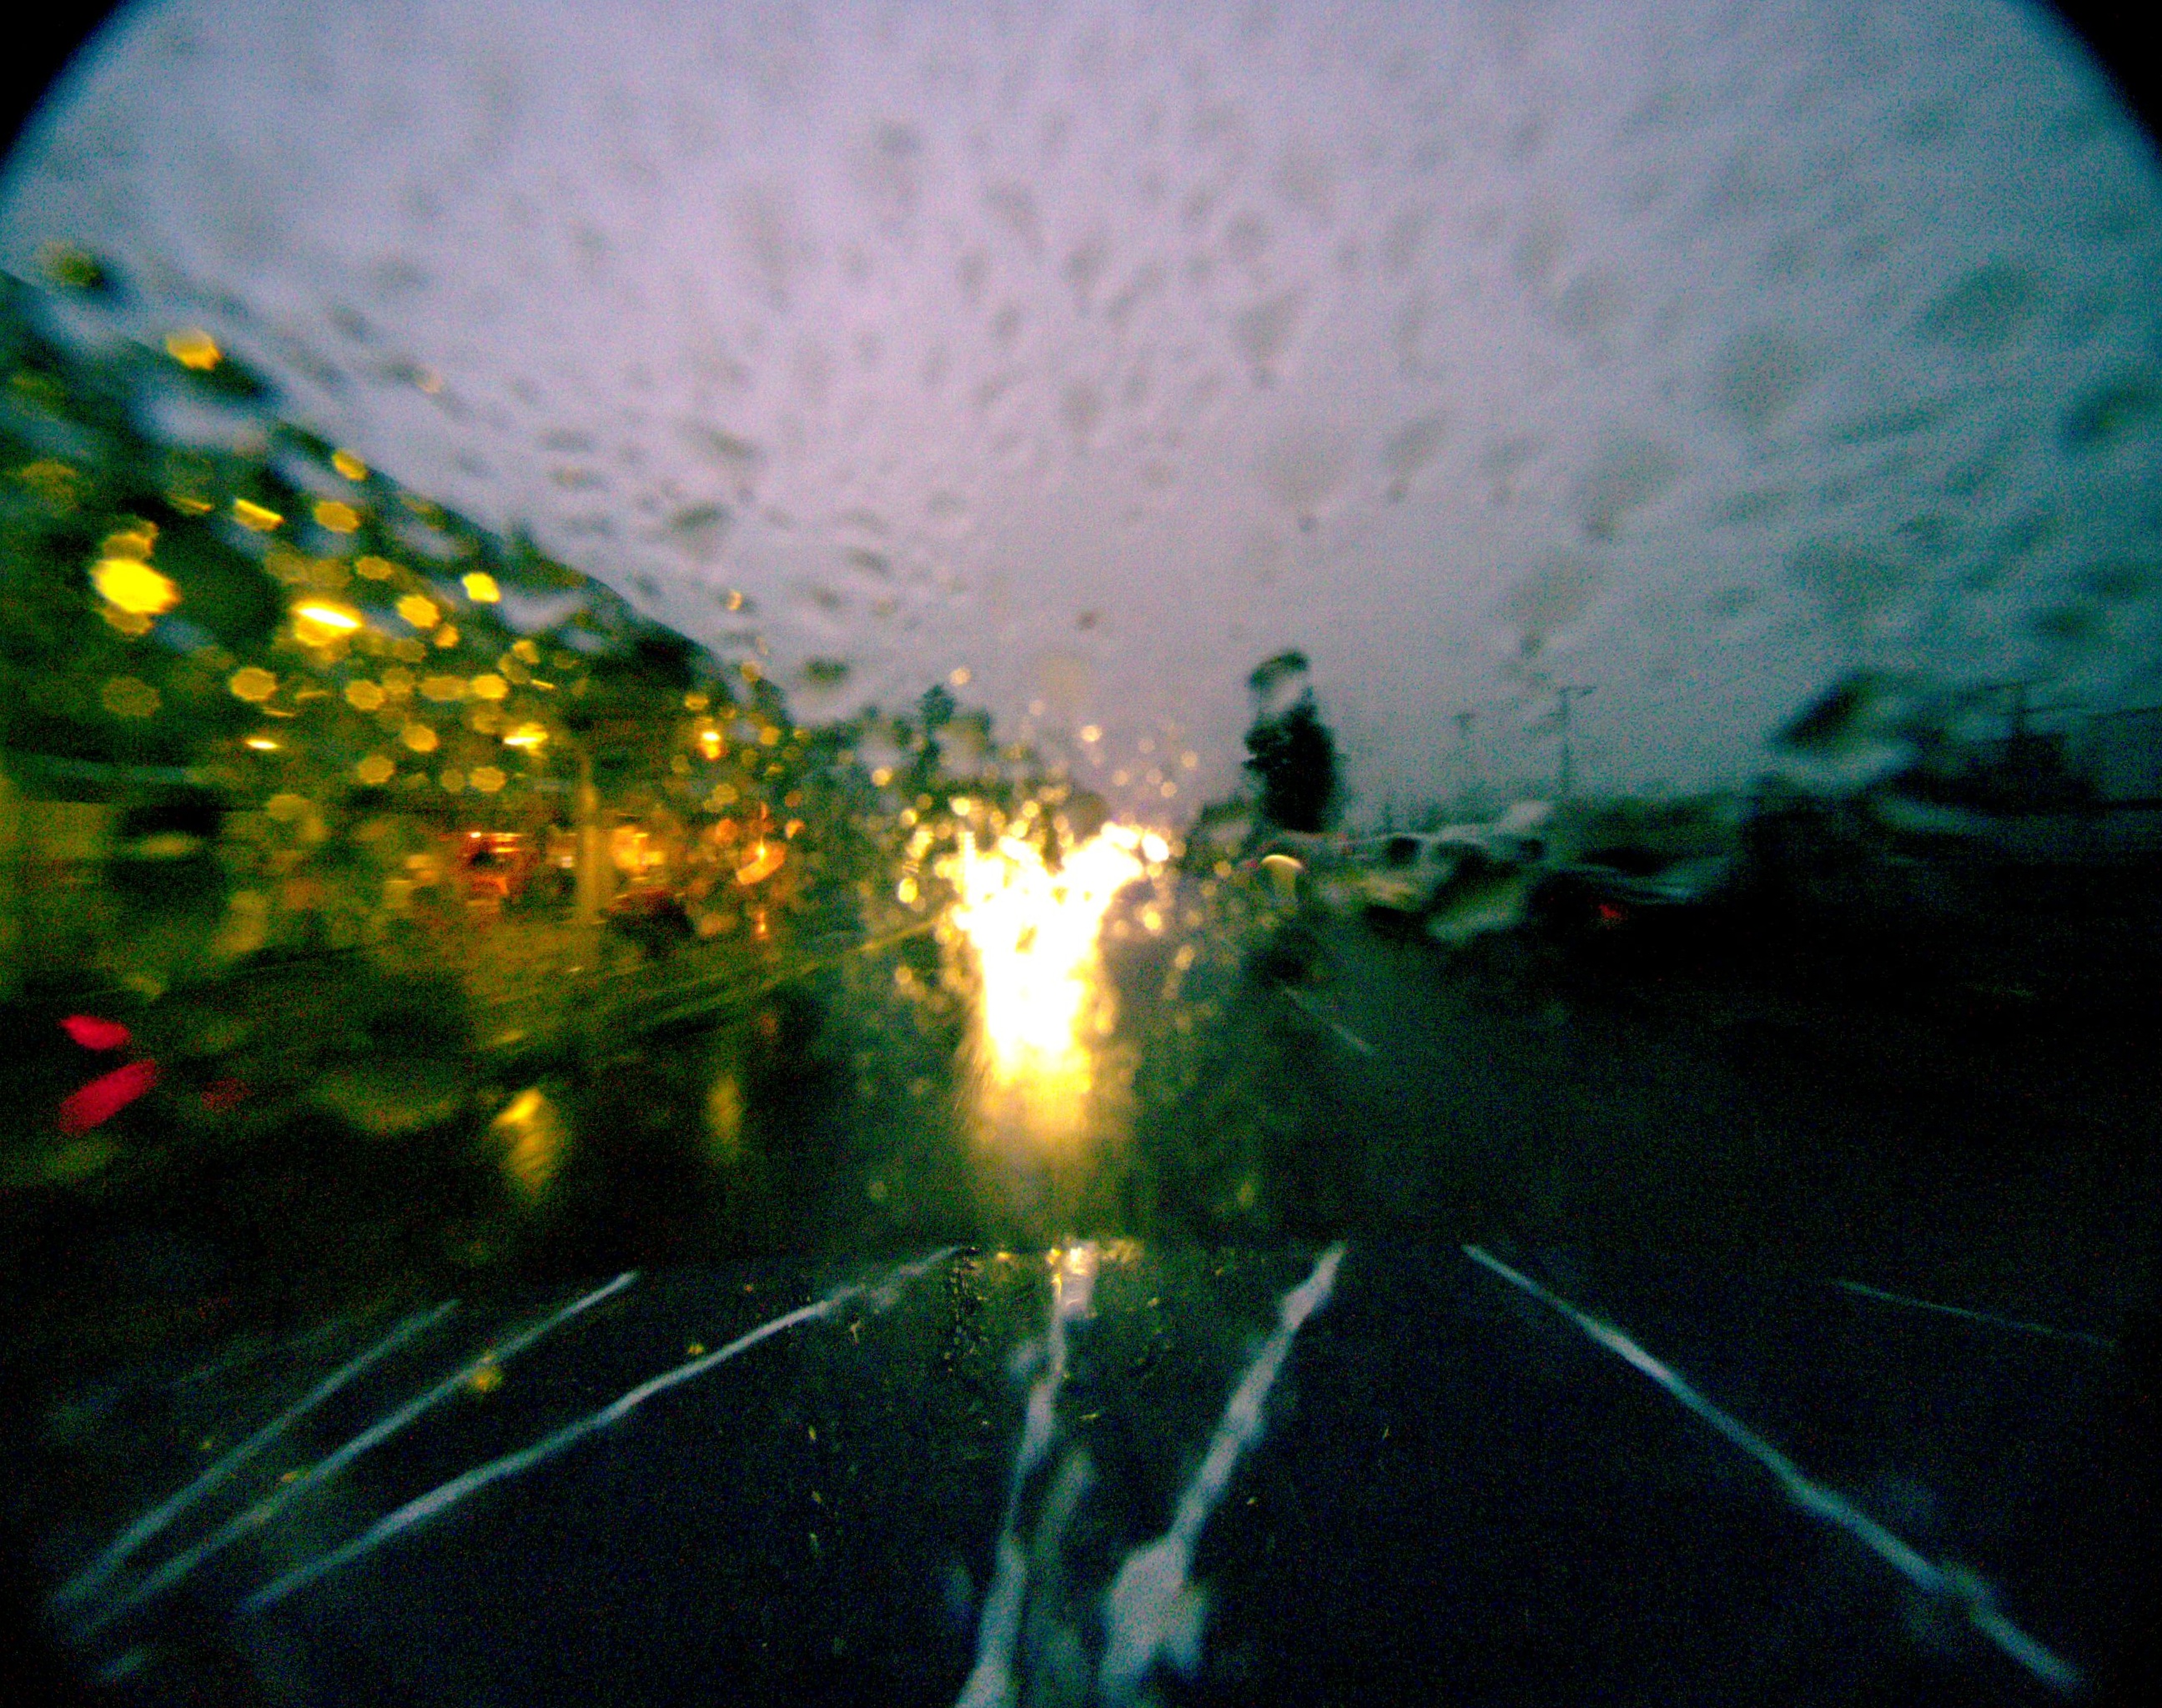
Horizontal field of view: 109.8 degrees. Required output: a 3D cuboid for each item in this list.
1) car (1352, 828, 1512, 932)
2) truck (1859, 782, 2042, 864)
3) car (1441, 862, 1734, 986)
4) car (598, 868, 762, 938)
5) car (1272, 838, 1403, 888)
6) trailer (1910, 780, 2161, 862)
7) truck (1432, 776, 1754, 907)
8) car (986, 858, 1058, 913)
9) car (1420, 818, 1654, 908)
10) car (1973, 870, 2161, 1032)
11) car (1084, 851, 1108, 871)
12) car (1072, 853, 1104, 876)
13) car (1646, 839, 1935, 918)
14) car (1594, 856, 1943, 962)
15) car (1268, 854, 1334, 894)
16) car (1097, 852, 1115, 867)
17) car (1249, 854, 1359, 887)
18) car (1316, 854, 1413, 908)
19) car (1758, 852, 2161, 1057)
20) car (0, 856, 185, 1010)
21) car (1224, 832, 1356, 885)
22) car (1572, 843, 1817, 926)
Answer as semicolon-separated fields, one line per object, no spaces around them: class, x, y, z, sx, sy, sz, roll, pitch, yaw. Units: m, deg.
car;7.675;0.497;17.136;1.839;2.001;4.485;-1;0;5
truck;31.129;-1.074;27.257;4.725;2.681;2.232;-2;1;-11
car;7.186;0.884;11.406;1.574;1.314;4.255;0;2;1
car;-9.430;1.083;18.272;1.576;1.388;4.169;0;0;3
car;11.364;0.381;33.958;5.157;2.138;2.059;0;0;3
trailer;36.332;-1.263;28.287;10.509;2.658;2.218;-2;1;-11
truck;13.321;-0.298;20.147;6.875;3.124;2.334;-1;0;1
car;-1.773;0.925;23.973;2.016;1.484;3.999;-2;0;-2
car;14.222;0.271;24.009;6.046;2.623;2.196;-1;0;1
car;12.127;0.897;7.382;4.767;1.429;1.783;0;0;1
car;1.333;0.605;65.803;1.889;1.618;4.001;-2;0;3
car;0.436;0.687;52.462;2.016;1.484;3.999;-1;0;-2
car;13.972;0.449;15.140;4.059;1.369;1.814;-2;0;-1
car;10.958;0.825;12.358;3.919;1.469;1.810;1;1;3
car;8.349;0.754;29.088;1.654;1.411;3.744;0;-1;4
car;2.744;0.583;83.790;1.889;1.618;4.000;-2;0;1
car;10.620;0.768;36.427;4.760;1.474;1.955;0;0;3
car;8.092;0.708;22.001;1.653;1.404;3.841;-1;0;5
car;8.389;0.801;7.558;1.173;1.634;2.873;0;0;11
car;-14.119;0.967;8.923;1.998;1.848;4.299;0;1;3
car;10.588;0.227;38.919;6.170;2.617;2.176;0;0;3
car;14.088;0.666;17.648;4.059;1.722;2.025;-2;0;-1
